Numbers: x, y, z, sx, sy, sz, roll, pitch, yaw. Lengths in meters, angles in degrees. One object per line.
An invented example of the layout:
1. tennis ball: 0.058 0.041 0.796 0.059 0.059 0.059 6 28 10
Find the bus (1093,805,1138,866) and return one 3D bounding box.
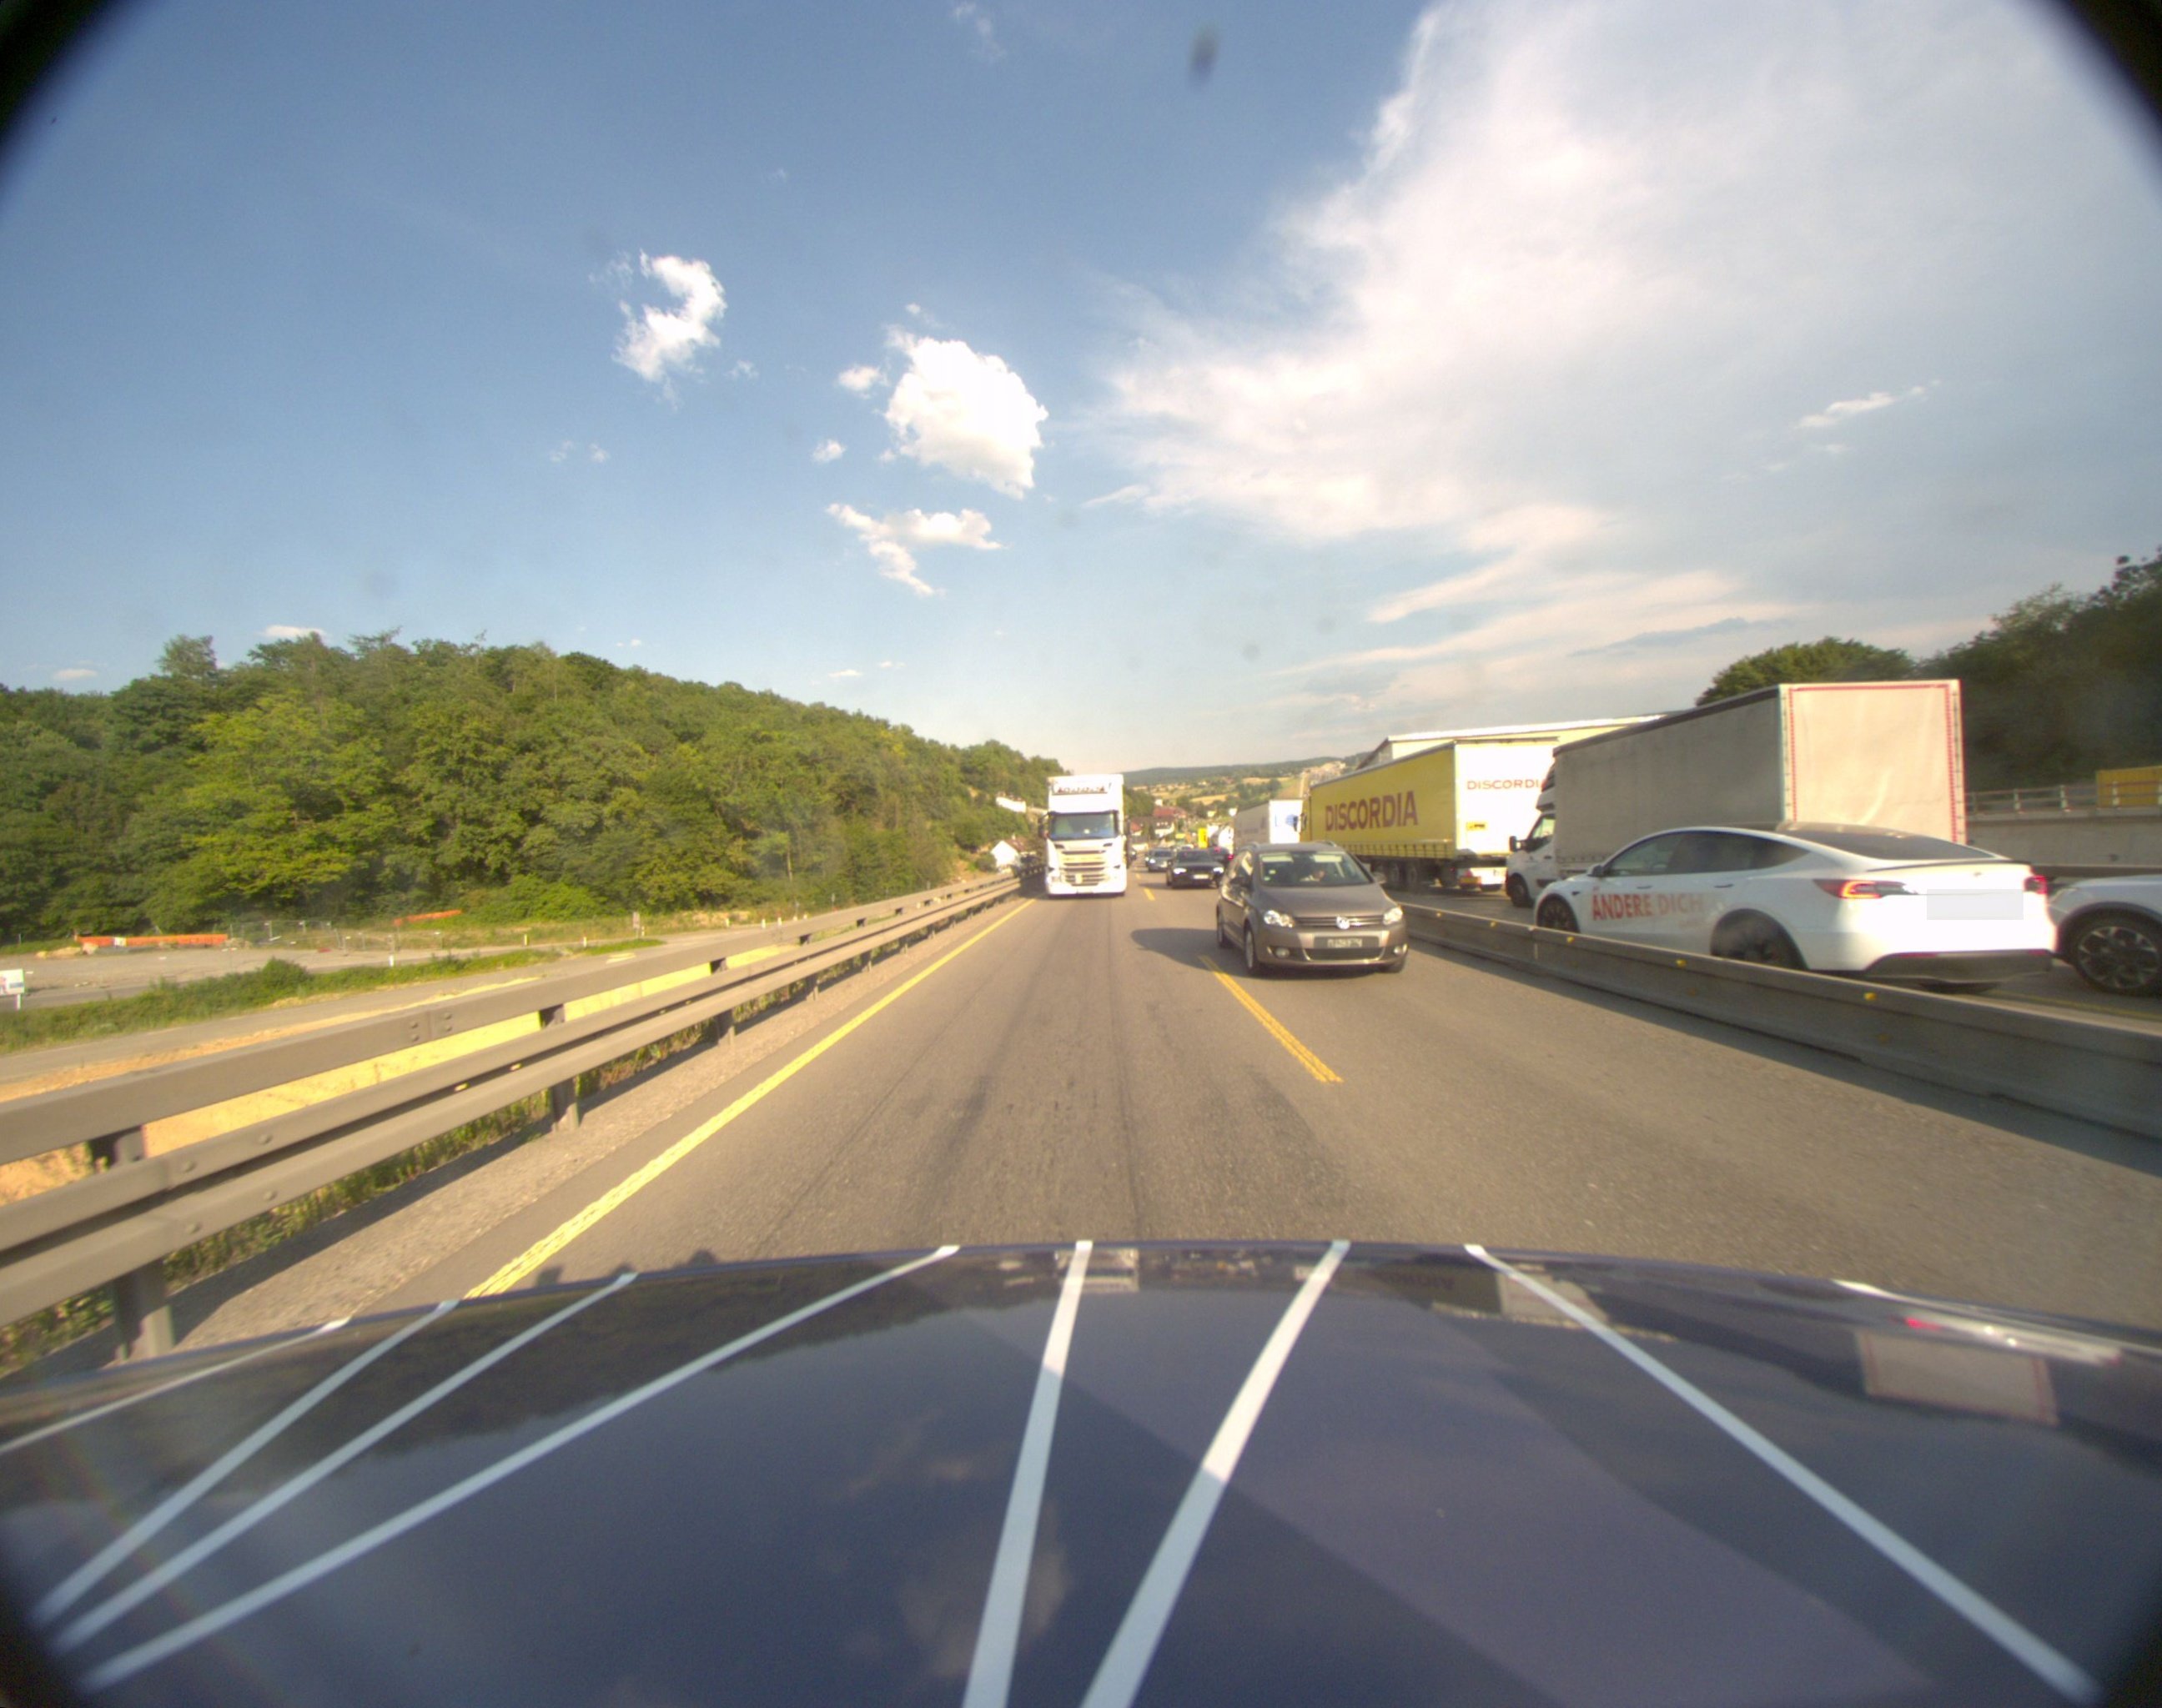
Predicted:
1. bus: 2.978 -1.449 62.753 2.984 4.553 10.907 -1 0 6

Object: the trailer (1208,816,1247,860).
1. trailer: 14.041 -1.556 73.717 2.603 3.858 10.579 -1 1 5

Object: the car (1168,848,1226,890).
1. car: 4.282 0.506 28.581 1.866 1.391 4.000 -1 1 4

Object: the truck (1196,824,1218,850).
1. truck: 19.080 -2.634 115.342 2.899 3.689 9.491 -1 1 7

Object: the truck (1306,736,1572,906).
1. truck: 10.751 -0.917 25.454 2.714 4.065 14.153 -1 1 2

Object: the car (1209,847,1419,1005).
1. car: 2.768 0.737 9.968 1.687 1.565 4.100 -2 1 3

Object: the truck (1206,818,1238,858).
1. truck: 14.459 -1.635 78.516 2.605 3.865 6.204 -1 1 5

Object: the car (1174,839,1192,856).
1. car: 11.912 -0.763 89.038 1.866 1.899 4.000 -1 1 4

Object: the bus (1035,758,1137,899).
1. bus: 0.554 -0.848 27.769 2.634 4.077 11.316 -1 1 5

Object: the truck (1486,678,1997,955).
1. truck: 10.425 -0.511 13.454 2.453 3.443 7.616 -2 1 1

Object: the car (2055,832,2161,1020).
1. car: 9.654 0.586 4.859 1.768 1.514 4.002 -2 1 2

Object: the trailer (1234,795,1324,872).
1. trailer: 11.912 -1.227 47.325 2.864 4.013 13.972 -1 1 4

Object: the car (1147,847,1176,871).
1. car: 5.107 0.315 48.716 1.698 1.390 4.001 -3 0 5

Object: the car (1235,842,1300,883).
1. car: 7.695 0.297 31.732 1.658 1.514 4.286 -2 1 1

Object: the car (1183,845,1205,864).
1. car: 9.417 -0.014 63.226 1.659 1.421 4.567 -2 1 9

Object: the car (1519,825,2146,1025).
1. car: 7.059 0.554 8.128 2.063 1.478 4.727 1 0 1

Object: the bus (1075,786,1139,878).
1. bus: 1.679 -1.135 43.096 2.984 4.553 9.970 -1 0 5

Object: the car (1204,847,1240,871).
1. car: 9.204 0.312 49.790 1.811 1.417 4.674 -2 1 5

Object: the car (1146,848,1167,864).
1. car: 6.285 0.157 63.593 1.627 1.239 4.000 -2 1 4

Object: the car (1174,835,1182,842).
1. car: 26.934 -4.301 211.054 1.822 1.988 4.755 0 0 -1

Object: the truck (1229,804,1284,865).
1. truck: 12.396 -1.341 54.231 2.850 4.013 6.102 -1 1 4

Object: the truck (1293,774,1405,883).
1. truck: 10.993 -1.023 31.823 2.719 4.065 6.101 -1 1 2
